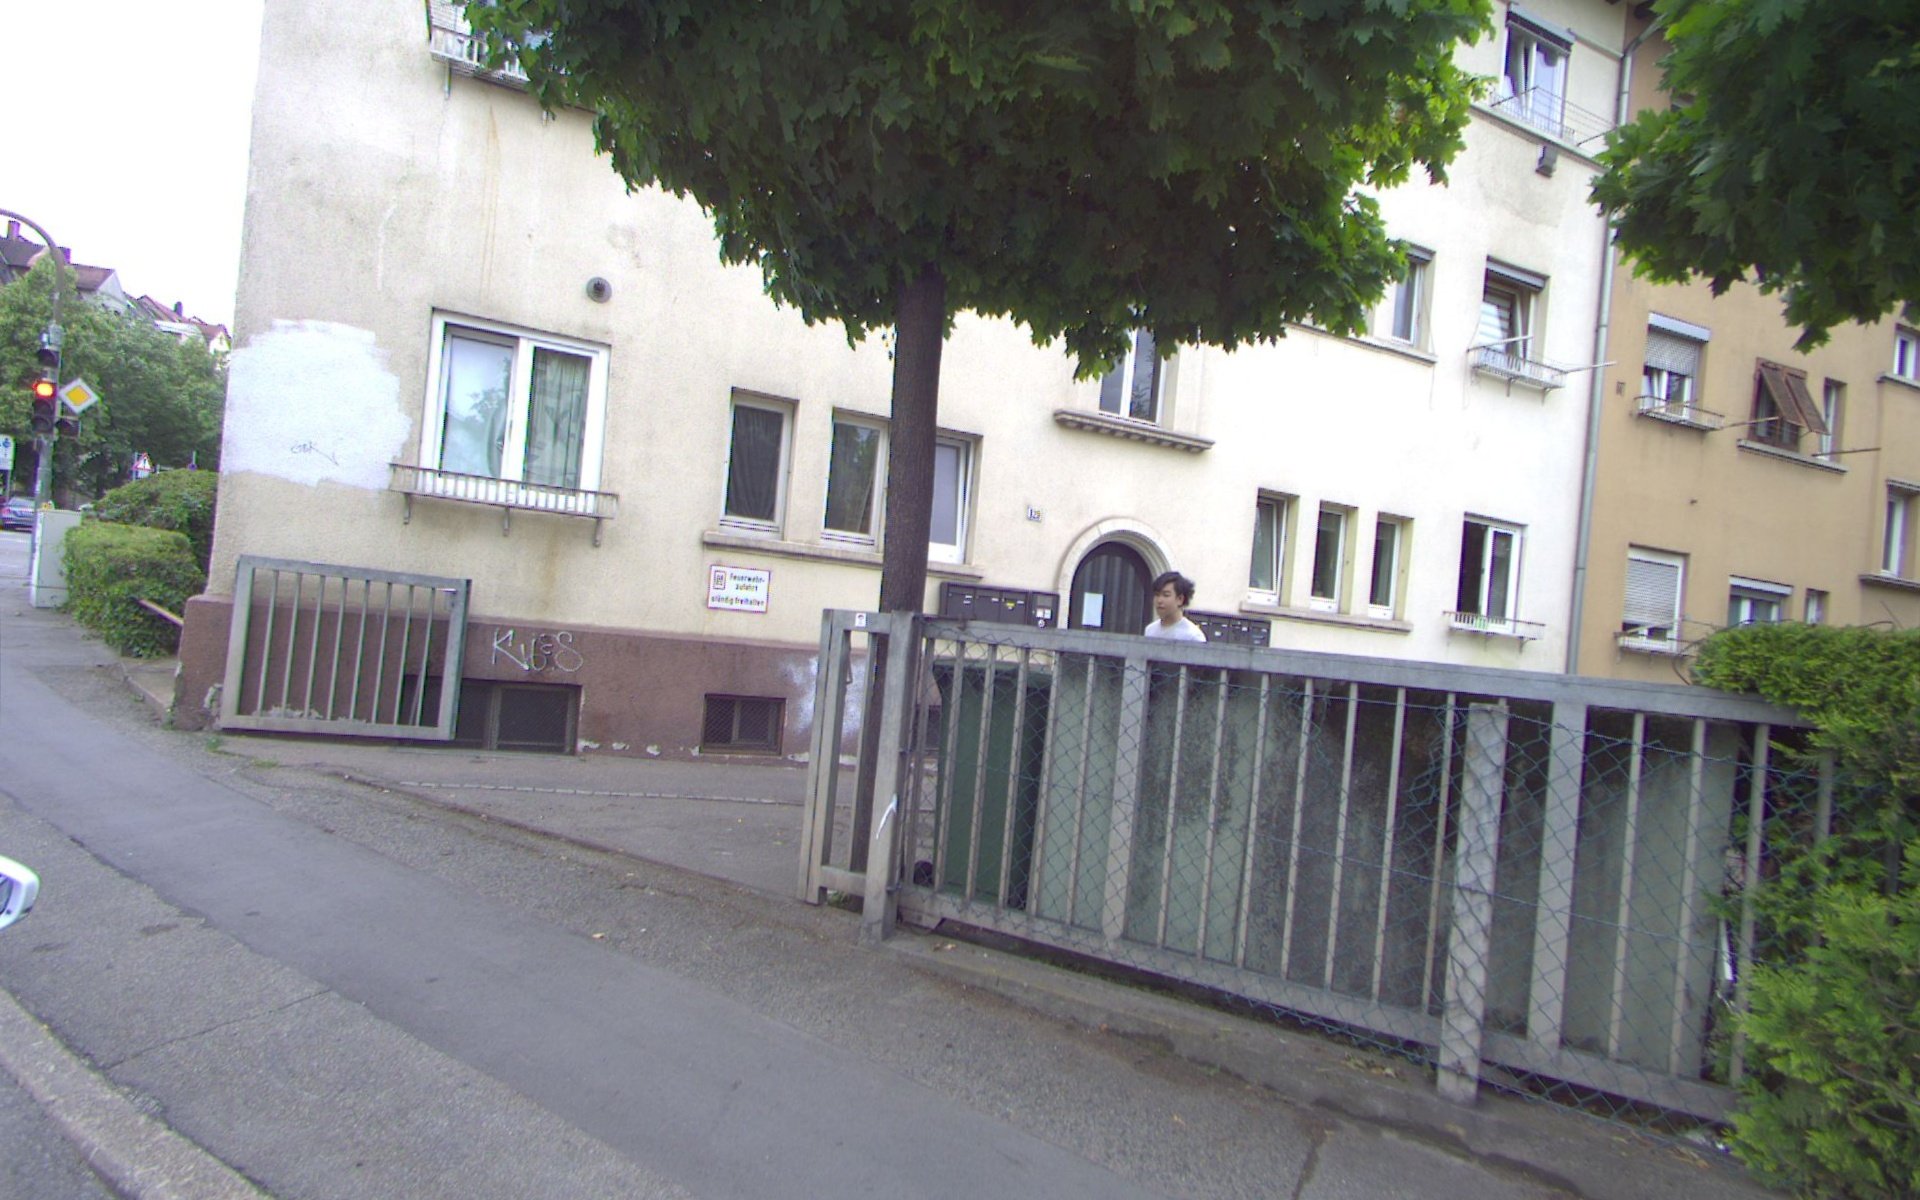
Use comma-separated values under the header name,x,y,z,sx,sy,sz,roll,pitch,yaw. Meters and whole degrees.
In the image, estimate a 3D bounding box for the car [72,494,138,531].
name,x,y,z,sx,sy,sz,roll,pitch,yaw
car,-63.140,-6.431,74.371,1.970,2.036,3.992,8,-3,-15

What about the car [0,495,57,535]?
name,x,y,z,sx,sy,sz,roll,pitch,yaw
car,-60.894,-5.540,64.975,1.970,2.036,3.992,8,-3,-15

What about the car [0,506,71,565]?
name,x,y,z,sx,sy,sz,roll,pitch,yaw
car,-38.466,-2.637,41.705,1.985,2.036,3.959,9,-3,-38

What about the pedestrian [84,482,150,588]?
name,x,y,z,sx,sy,sz,roll,pitch,yaw
pedestrian,-15.495,-1.186,18.500,0.520,1.840,0.591,7,-2,31

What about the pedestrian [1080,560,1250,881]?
name,x,y,z,sx,sy,sz,roll,pitch,yaw
pedestrian,1.228,0.690,6.010,0.684,1.758,0.467,7,-1,29
